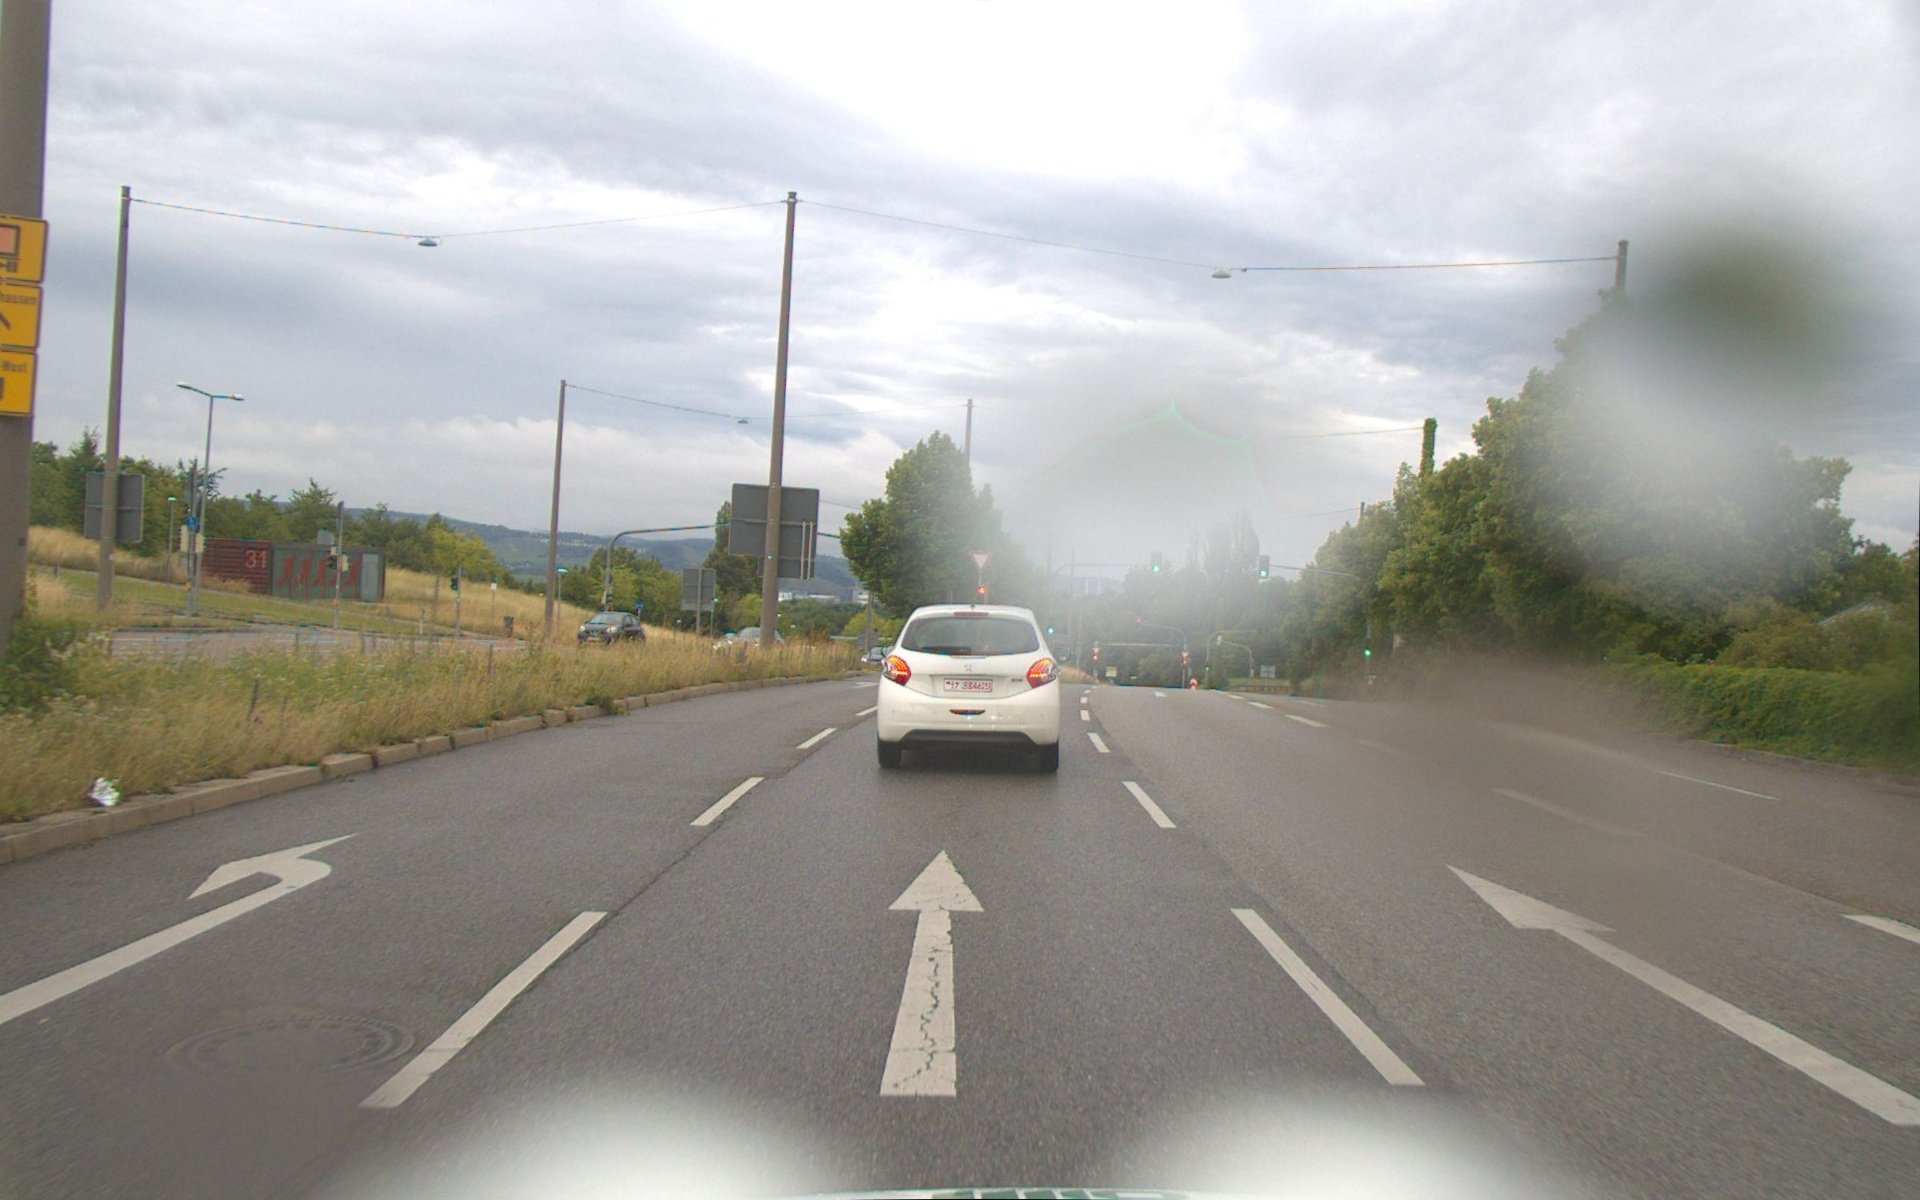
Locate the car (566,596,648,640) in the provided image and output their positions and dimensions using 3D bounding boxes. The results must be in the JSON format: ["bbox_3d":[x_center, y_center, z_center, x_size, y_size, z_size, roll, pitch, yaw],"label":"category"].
[{"bbox_3d":[-13.454,0.709,63.238,1.730,1.408,4.002,3,-3,8],"label":"car"}]

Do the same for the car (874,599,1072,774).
[{"bbox_3d":[0.133,0.749,16.095,1.673,1.465,3.690,1,0,1],"label":"car"}]

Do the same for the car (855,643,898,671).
[{"bbox_3d":[-4.976,3.432,99.189,1.714,1.530,4.466,3,-3,8],"label":"car"}]
